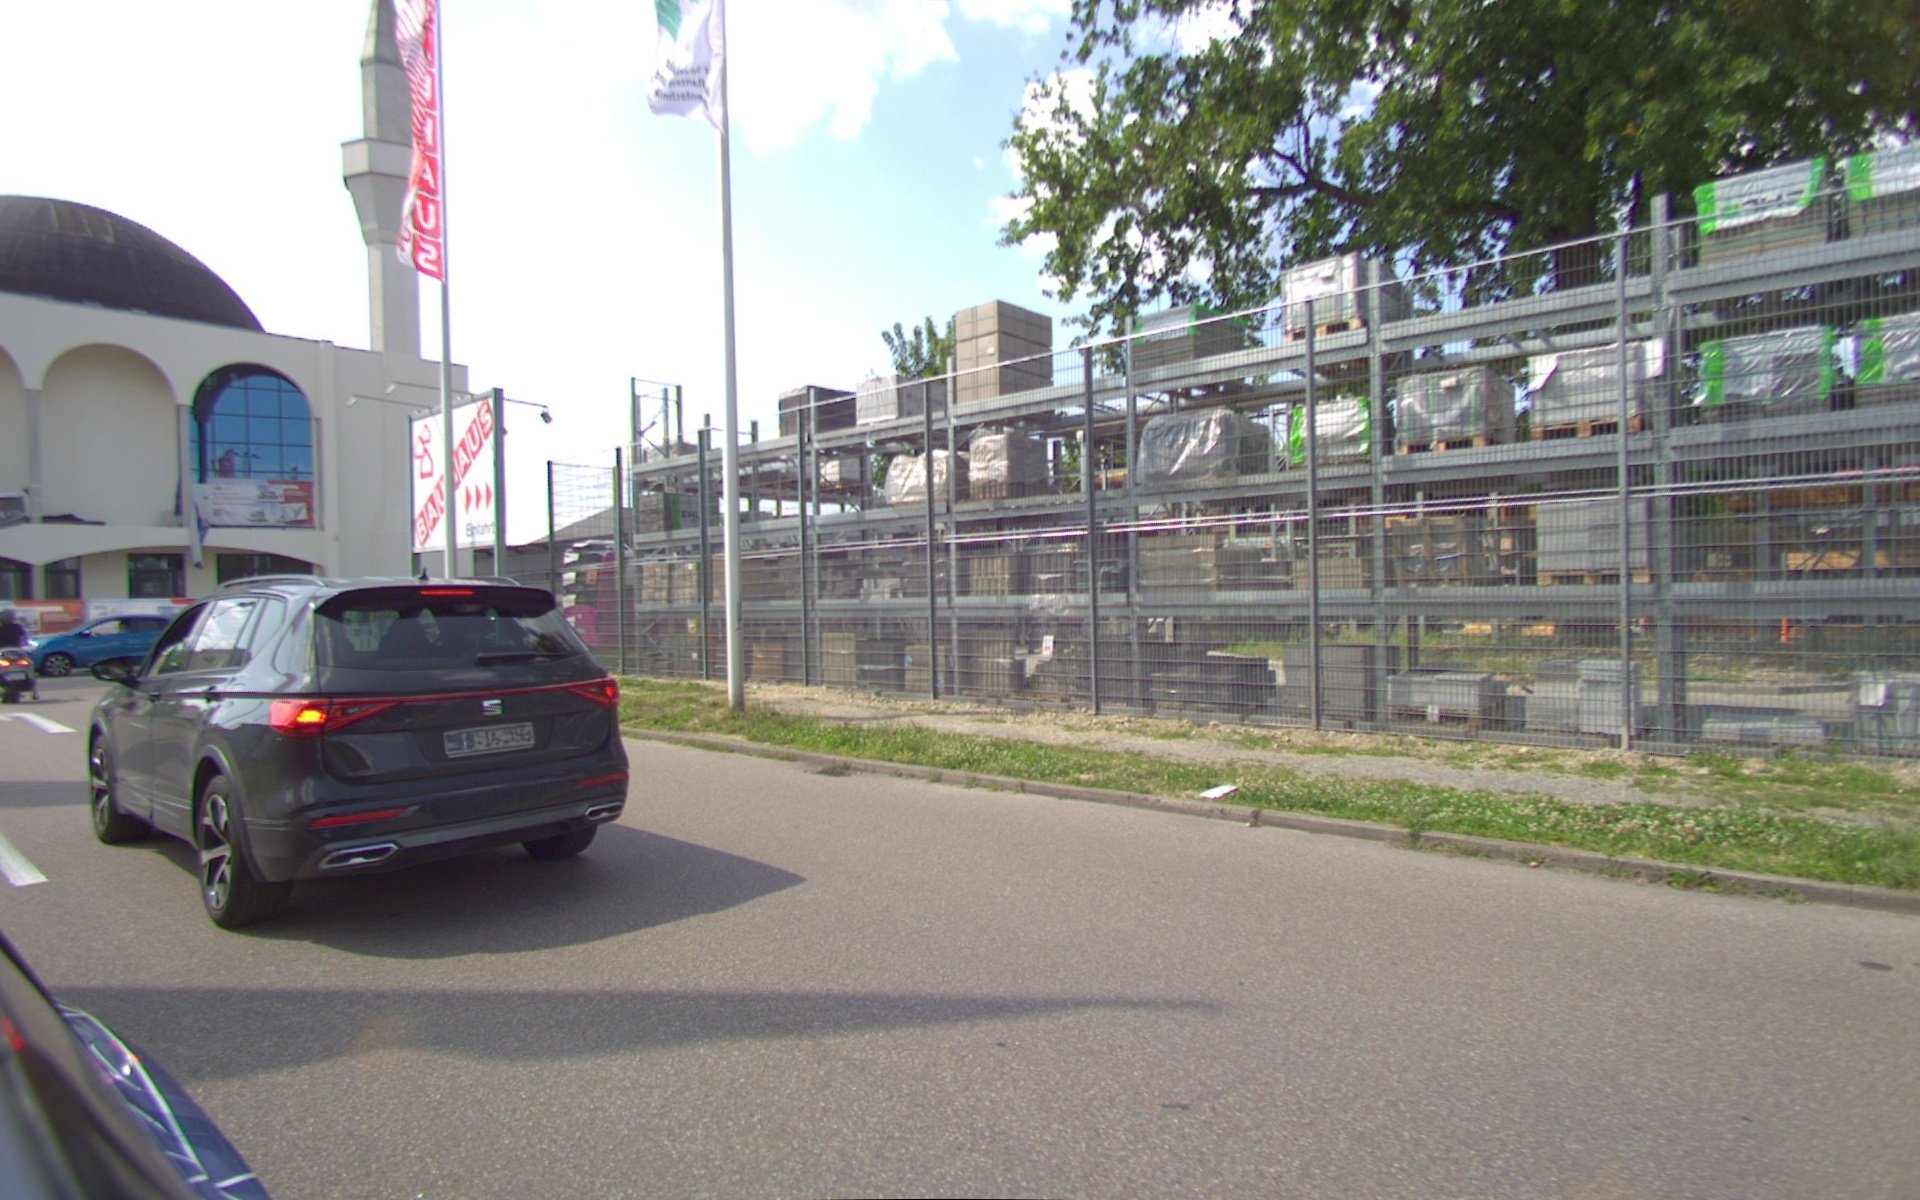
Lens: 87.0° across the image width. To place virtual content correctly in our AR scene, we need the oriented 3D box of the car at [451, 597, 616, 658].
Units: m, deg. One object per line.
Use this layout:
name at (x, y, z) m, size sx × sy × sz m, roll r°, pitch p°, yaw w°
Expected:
car at (-13.125, 0.815, 31.302) m, size 1.770 × 1.678 × 4.323 m, roll -4°, pitch -2°, yaw 43°

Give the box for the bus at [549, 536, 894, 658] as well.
bus at (-7.275, -0.165, 33.250) m, size 2.892 × 3.389 × 11.409 m, roll -1°, pitch 0°, yaw 42°

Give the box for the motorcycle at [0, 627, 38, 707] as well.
motorcycle at (-16.781, 1.146, 17.814) m, size 2.214 × 1.315 × 0.662 m, roll -1°, pitch 0°, yaw 44°

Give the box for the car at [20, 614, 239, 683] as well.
car at (-21.370, 1.199, 26.170) m, size 1.696 × 1.525 × 4.139 m, roll -1°, pitch 0°, yaw 41°

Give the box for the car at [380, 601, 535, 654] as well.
car at (-16.243, 0.855, 32.874) m, size 1.791 × 1.521 × 4.136 m, roll -1°, pitch 0°, yaw 42°

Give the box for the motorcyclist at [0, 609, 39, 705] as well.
motorcyclist at (-16.716, 0.985, 17.745) m, size 0.687 × 1.641 × 0.778 m, roll -2°, pitch 0°, yaw 44°

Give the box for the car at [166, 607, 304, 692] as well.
car at (-15.376, 0.975, 21.669) m, size 1.693 × 1.576 × 4.223 m, roll -1°, pitch 0°, yaw -26°

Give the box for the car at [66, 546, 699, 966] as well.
car at (-3.681, 0.662, 6.075) m, size 4.370 × 1.630 × 1.896 m, roll -2°, pitch -1°, yaw 40°
